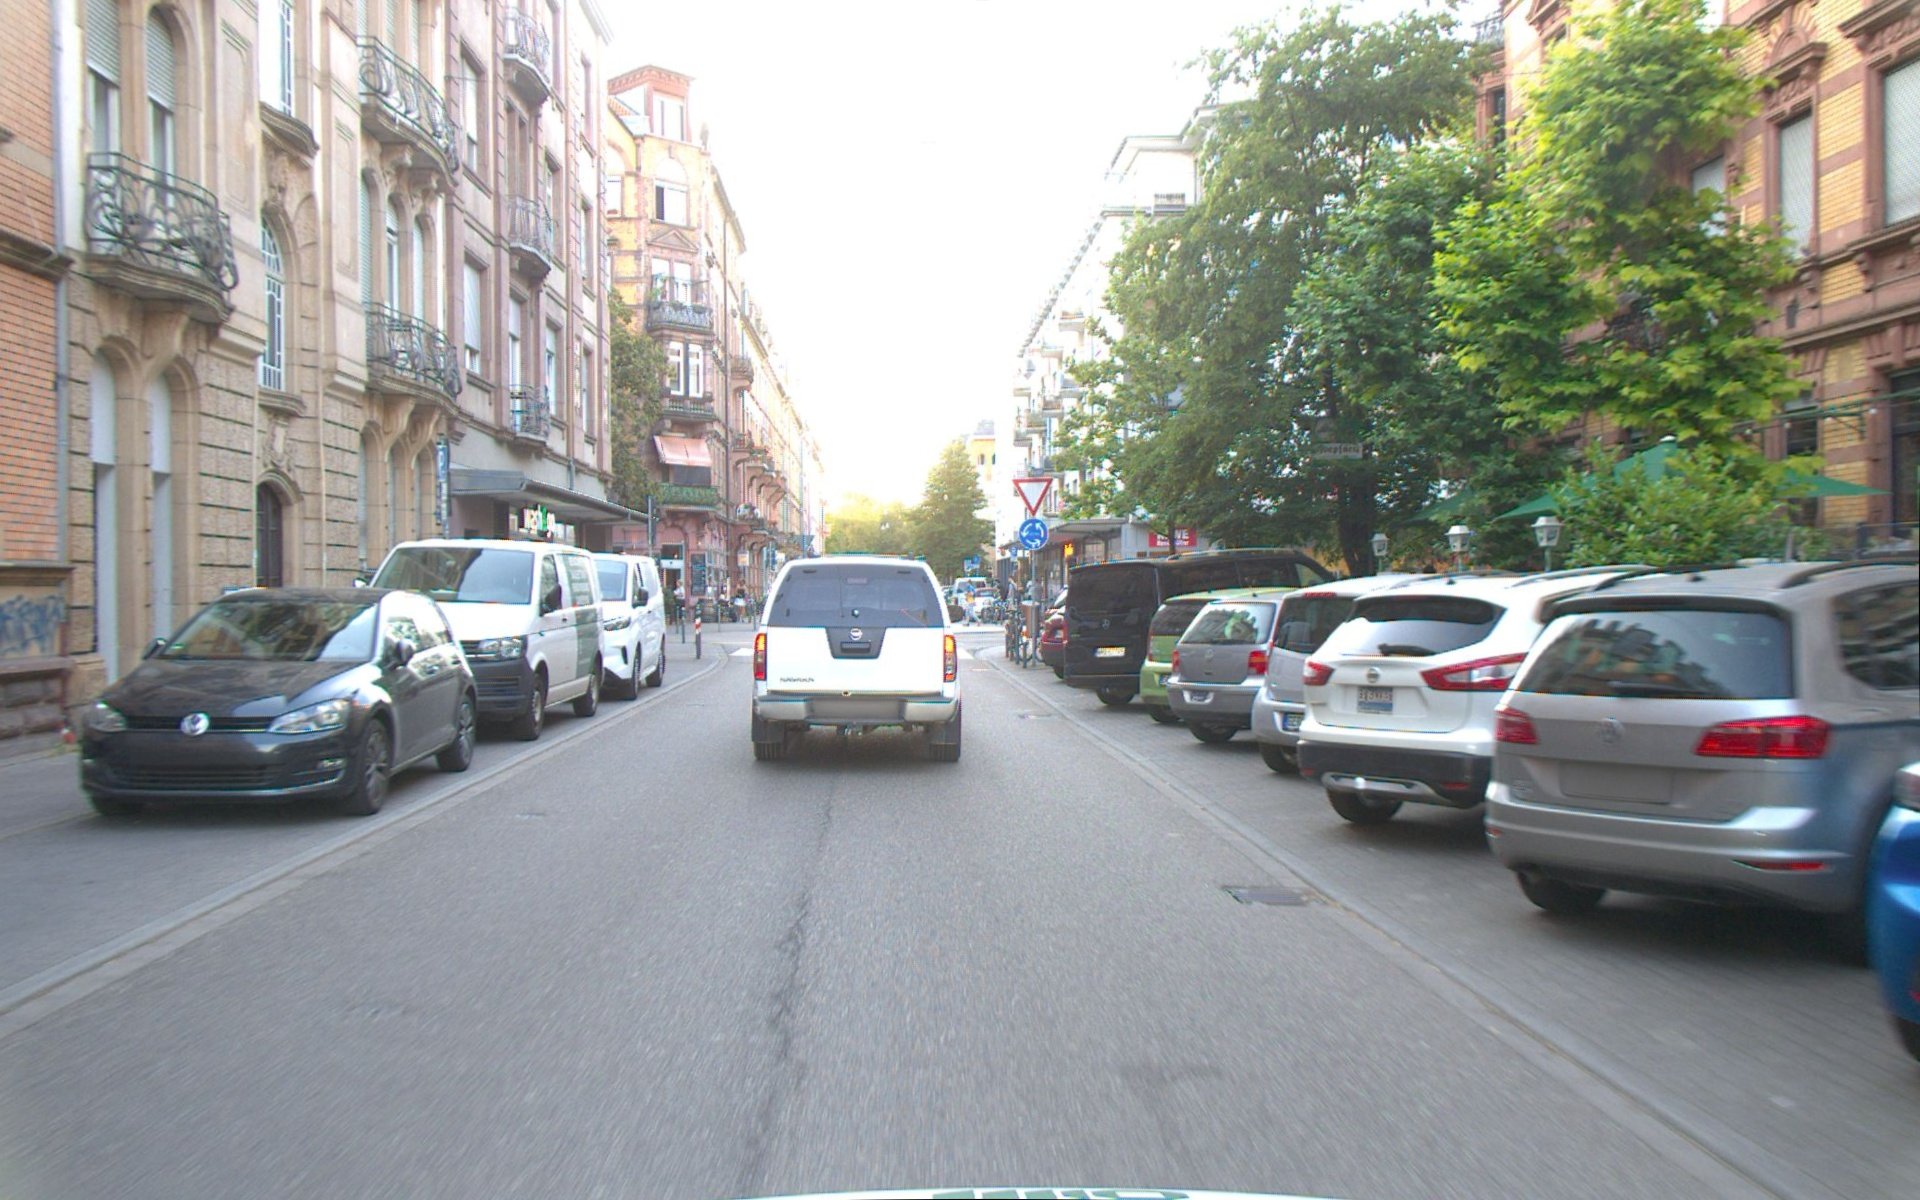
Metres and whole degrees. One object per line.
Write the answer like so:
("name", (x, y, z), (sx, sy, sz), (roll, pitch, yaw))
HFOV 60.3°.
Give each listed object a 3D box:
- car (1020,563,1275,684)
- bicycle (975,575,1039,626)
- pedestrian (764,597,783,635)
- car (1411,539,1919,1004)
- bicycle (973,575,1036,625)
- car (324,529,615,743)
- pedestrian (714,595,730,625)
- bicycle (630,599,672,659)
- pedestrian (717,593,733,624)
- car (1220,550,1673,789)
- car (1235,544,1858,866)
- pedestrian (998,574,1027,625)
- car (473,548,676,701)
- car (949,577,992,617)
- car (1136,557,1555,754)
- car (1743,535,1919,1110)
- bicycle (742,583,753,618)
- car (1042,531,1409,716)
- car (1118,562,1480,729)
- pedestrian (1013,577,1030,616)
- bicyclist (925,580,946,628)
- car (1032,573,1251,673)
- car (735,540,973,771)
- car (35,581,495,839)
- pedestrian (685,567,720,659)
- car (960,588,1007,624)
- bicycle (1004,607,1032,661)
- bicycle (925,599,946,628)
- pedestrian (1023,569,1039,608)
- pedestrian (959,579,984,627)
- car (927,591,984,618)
("car", (3.200, 0.353, 27.793), (4.188, 1.717, 1.904), (-4, 2, -41))
("bicycle", (1.922, 0.008, 67.983), (2.594, 2.049, 0.637), (1, -1, -2))
("pedestrian", (-8.239, 0.722, 72.945), (0.782, 1.649, 0.943), (1, -1, -5))
("car", (4.321, 0.568, 8.034), (4.117, 1.618, 1.864), (-4, 2, -34))
("bicycle", (1.844, 0.011, 68.794), (2.594, 2.049, 0.637), (1, -1, -2))
("car", (-4.996, 0.323, 17.580), (1.800, 1.955, 4.843), (0, 0, -2))
("pedestrian", (-9.937, 0.415, 68.988), (0.636, 1.211, 0.539), (1, -1, -7))
("bicycle", (-6.180, 0.568, 33.123), (0.462, 1.162, 1.785), (1, -1, 1))
("pedestrian", (-9.965, 0.373, 70.174), (0.636, 1.308, 0.539), (1, -1, -7))
("car", (4.260, 0.484, 14.166), (4.073, 1.618, 1.791), (-4, 2, -41))
("car", (3.953, 0.544, 10.937), (4.060, 1.618, 1.797), (-4, 1, -34))
("pedestrian", (1.992, -0.027, 62.605), (0.895, 1.918, 0.609), (1, -1, -34))
("car", (-5.363, 0.305, 23.680), (2.068, 1.955, 5.021), (0, 0, -4))
("car", (0.499, -0.148, 84.179), (1.904, 1.967, 3.997), (1, 0, -4))
("car", (3.911, 0.467, 16.535), (4.062, 1.578, 1.797), (-4, 2, -35))
("car", (4.643, 0.581, 5.385), (4.112, 1.618, 1.866), (-1, 1, -32))
("bicycle", (-9.161, 0.033, 71.345), (0.416, 1.468, 1.901), (1, 0, -7))
("car", (3.743, 0.224, 22.548), (5.390, 2.108, 1.904), (-4, 2, -41))
("car", (3.986, 0.459, 19.221), (4.062, 1.578, 1.797), (-4, 2, -35))
("pedestrian", (2.700, -0.133, 72.735), (0.705, 1.692, 0.702), (1, -1, -3))
("bicyclist", (-1.017, 0.159, 69.111), (0.821, 1.978, 0.785), (1, -1, 0))
("car", (3.448, 0.385, 31.146), (4.002, 1.656, 1.672), (-3, 2, -35))
("car", (-0.874, 0.464, 15.915), (1.898, 1.842, 5.000), (1, 0, 0))
("car", (-4.644, 0.632, 11.771), (1.801, 1.496, 4.169), (0, 0, -5))
("pedestrian", (-5.260, 0.266, 33.798), (0.525, 1.855, 0.997), (1, -1, 1))
("car", (1.044, 0.277, 75.418), (1.798, 1.569, 3.997), (1, 0, -4))
("bicycle", (1.199, 0.695, 34.419), (0.357, 1.082, 1.550), (1, 0, -6))
("bicycle", (-1.037, 0.552, 69.233), (0.821, 1.192, 1.936), (1, 0, 0))
("pedestrian", (3.597, -0.581, 83.511), (0.705, 1.940, 0.702), (1, -1, -3))
("pedestrian", (0.430, 0.122, 62.279), (0.885, 1.767, 0.616), (1, -1, 3))
("car", (-0.335, 0.336, 115.495), (3.908, 1.780, 1.839), (1, 0, -4))
